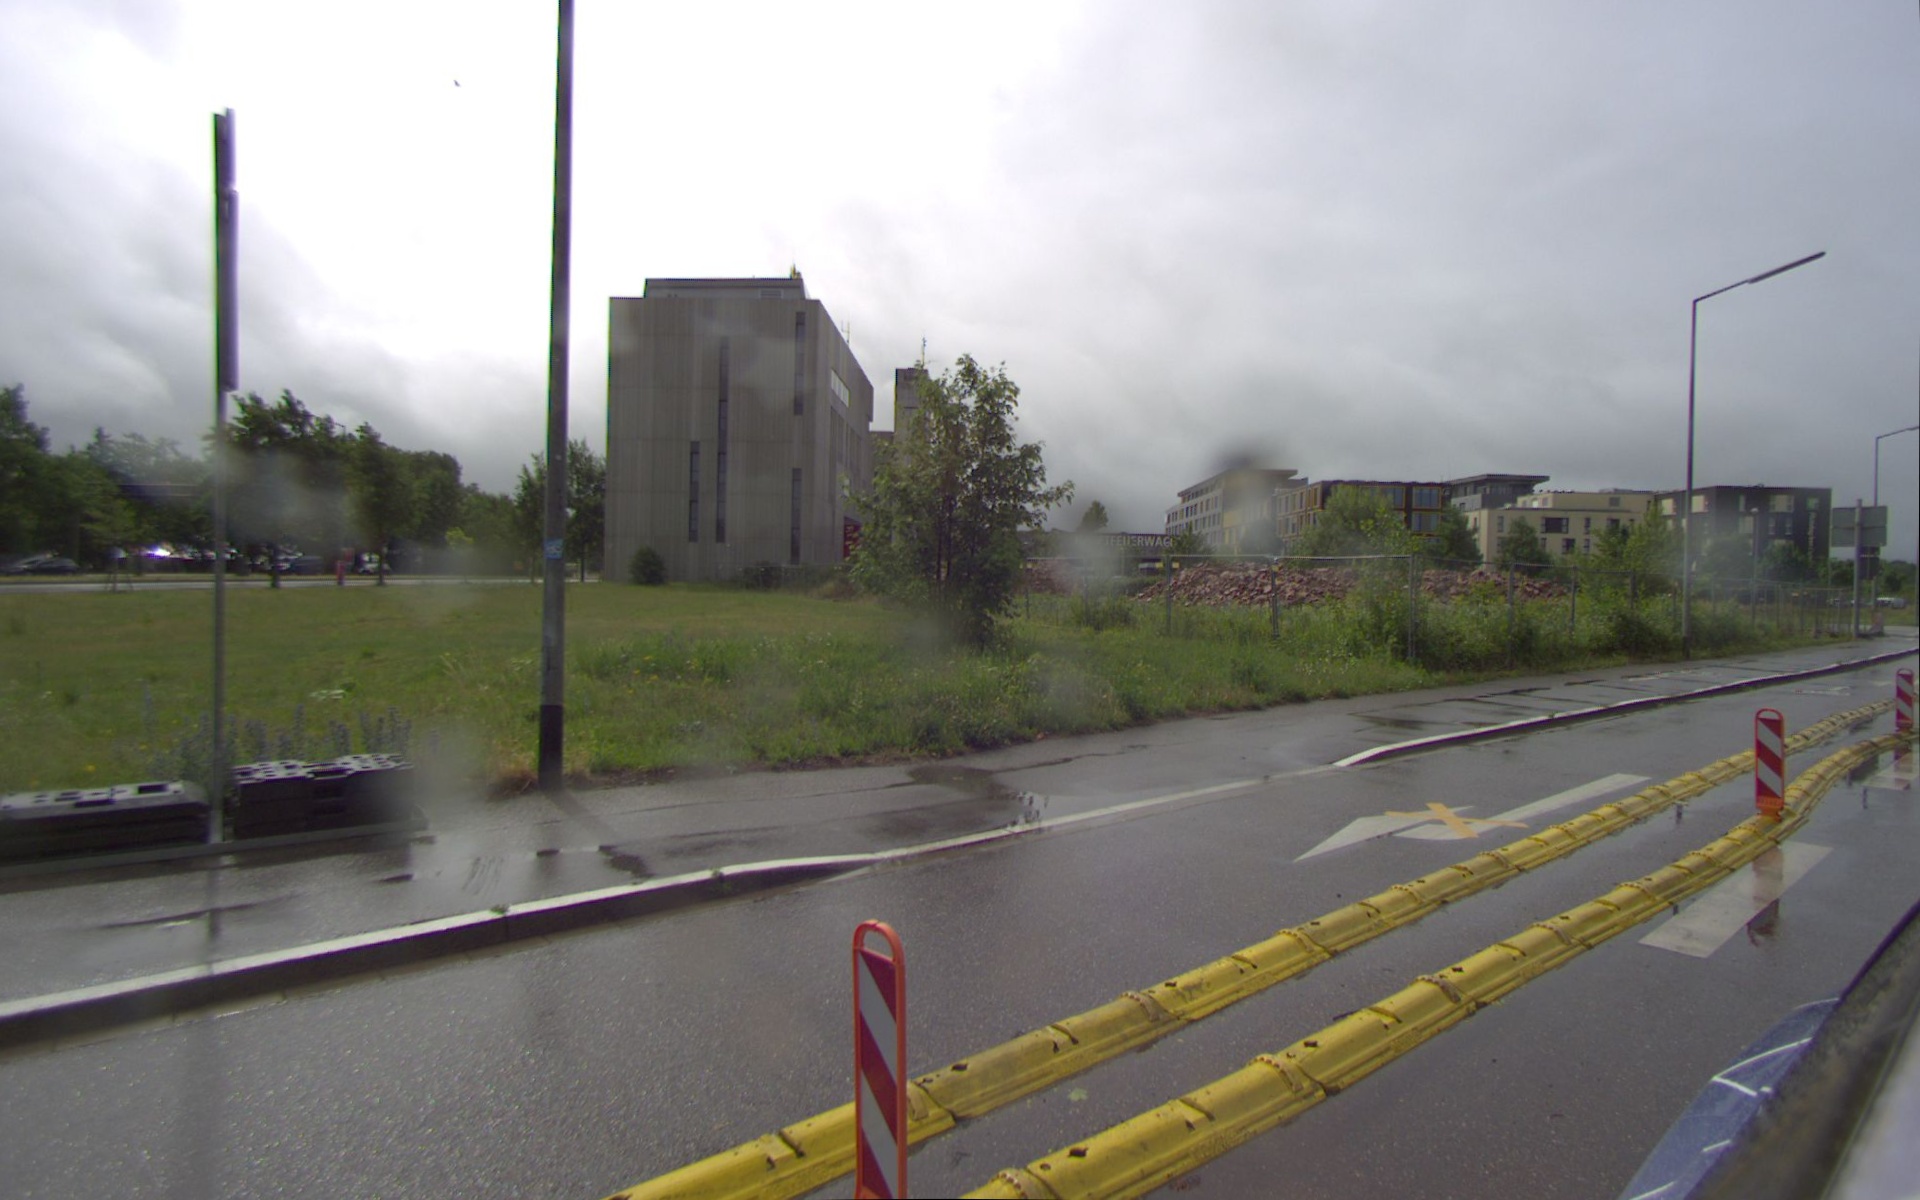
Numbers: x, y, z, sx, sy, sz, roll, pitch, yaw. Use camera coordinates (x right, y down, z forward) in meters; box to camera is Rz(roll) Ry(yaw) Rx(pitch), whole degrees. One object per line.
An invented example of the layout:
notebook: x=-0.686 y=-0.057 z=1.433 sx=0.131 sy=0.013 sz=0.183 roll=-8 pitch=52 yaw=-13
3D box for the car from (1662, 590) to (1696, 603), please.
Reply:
car: x=89.747 y=-0.419 z=126.354 sx=3.591 sy=1.603 sz=1.652 roll=1 pitch=1 yaw=-17

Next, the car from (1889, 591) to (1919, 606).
car: x=139.021 y=-0.206 z=148.164 sx=3.930 sy=2.039 sz=1.997 roll=1 pitch=1 yaw=6

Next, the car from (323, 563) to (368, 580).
car: x=-59.123 y=-2.707 z=97.402 sx=3.449 sy=1.578 sz=1.547 roll=1 pitch=1 yaw=-17

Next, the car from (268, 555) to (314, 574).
car: x=-57.727 y=-3.076 z=87.423 sx=1.515 sy=1.578 sz=3.521 roll=1 pitch=1 yaw=3
